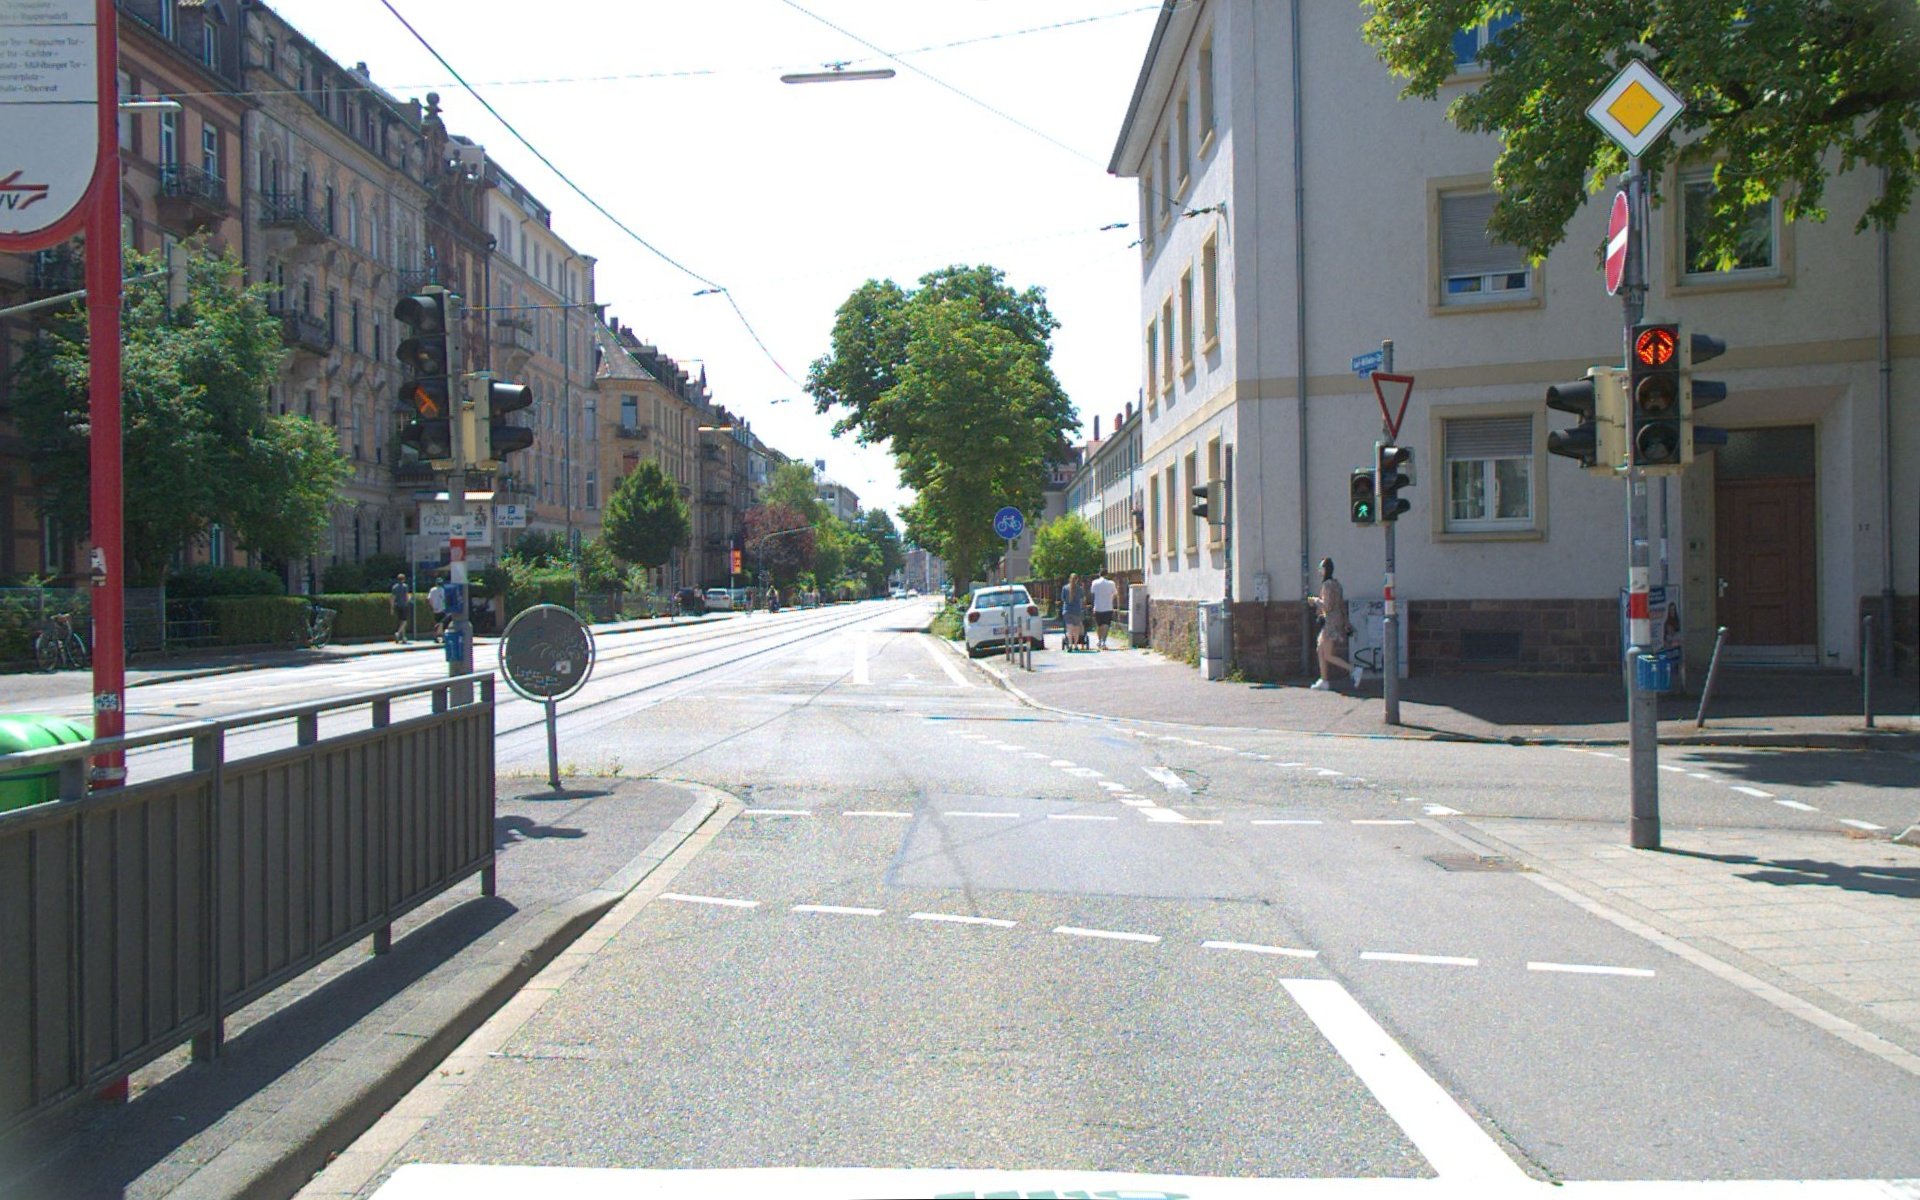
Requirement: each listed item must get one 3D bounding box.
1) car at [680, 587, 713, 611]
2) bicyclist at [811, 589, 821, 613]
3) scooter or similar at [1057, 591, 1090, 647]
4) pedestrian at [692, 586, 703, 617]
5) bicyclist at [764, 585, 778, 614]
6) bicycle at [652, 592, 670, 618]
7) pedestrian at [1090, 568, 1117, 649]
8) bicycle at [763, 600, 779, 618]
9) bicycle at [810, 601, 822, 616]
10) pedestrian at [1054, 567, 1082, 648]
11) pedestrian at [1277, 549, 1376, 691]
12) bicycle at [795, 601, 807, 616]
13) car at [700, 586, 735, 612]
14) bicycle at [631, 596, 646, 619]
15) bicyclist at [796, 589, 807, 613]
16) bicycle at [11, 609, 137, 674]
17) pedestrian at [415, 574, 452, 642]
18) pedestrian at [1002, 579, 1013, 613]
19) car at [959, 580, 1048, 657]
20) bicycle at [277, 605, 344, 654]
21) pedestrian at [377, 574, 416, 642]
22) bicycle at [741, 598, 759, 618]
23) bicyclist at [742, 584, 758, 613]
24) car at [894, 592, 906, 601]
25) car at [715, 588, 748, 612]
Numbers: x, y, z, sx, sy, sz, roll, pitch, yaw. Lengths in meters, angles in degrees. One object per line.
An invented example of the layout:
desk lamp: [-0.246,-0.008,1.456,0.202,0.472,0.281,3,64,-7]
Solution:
car: [-19.679,-0.067,123.598,1.880,1.745,3.999,1,0,-1]
bicyclist: [-11.299,0.075,129.773,0.712,1.850,1.079,1,0,1]
scooter or similar: [2.448,0.411,35.571,0.545,1.175,1.206,1,0,12]
pedestrian: [-14.175,0.068,89.383,0.510,1.688,0.529,-1,0,-1]
bicyclist: [-12.188,-0.027,106.760,0.712,1.799,1.079,1,0,1]
bicycle: [-15.279,0.251,84.425,0.664,1.301,1.917,-1,0,-4]
pedestrian: [3.033,0.178,34.975,0.545,1.674,0.677,1,-1,4]
bicycle: [-12.193,0.565,106.632,0.712,1.142,2.085,1,0,1]
bicycle: [-11.317,0.693,129.779,0.712,1.142,2.085,1,0,1]
pedestrian: [2.258,0.164,34.619,0.545,1.674,0.677,1,-1,4]
pedestrian: [4.767,0.255,21.475,1.032,1.719,0.654,-4,3,22]
bicycle: [-12.466,0.683,129.745,0.712,1.142,2.085,1,0,1]
car: [-16.879,-0.053,115.303,1.880,1.745,3.999,1,0,-1]
bicycle: [-15.502,0.337,79.778,0.665,1.083,1.913,-1,0,-12]
bicyclist: [-12.450,0.070,129.789,0.712,1.850,1.079,1,0,1]
bicycle: [-16.715,0.762,31.295,0.918,1.156,2.773,1,0,-2]
pedestrian: [-14.738,0.215,46.290,0.800,1.854,0.872,1,1,-6]
pedestrian: [2.260,-0.189,78.600,0.511,1.590,0.573,-1,0,-1]
car: [0.926,0.399,37.311,1.778,1.542,3.999,-3,0,-1]
bicycle: [-15.873,0.702,40.507,0.920,1.156,2.767,1,0,-9]
pedestrian: [-15.599,0.214,45.800,0.800,1.854,0.872,1,1,-6]
bicycle: [-12.043,0.468,94.767,0.712,1.142,2.085,1,0,1]
bicyclist: [-12.040,-0.067,94.776,0.712,1.657,1.079,1,0,1]
car: [-8.912,-0.538,244.744,1.671,1.300,3.999,1,0,-1]
car: [-17.047,-0.022,123.564,1.880,1.745,3.999,1,0,-1]
